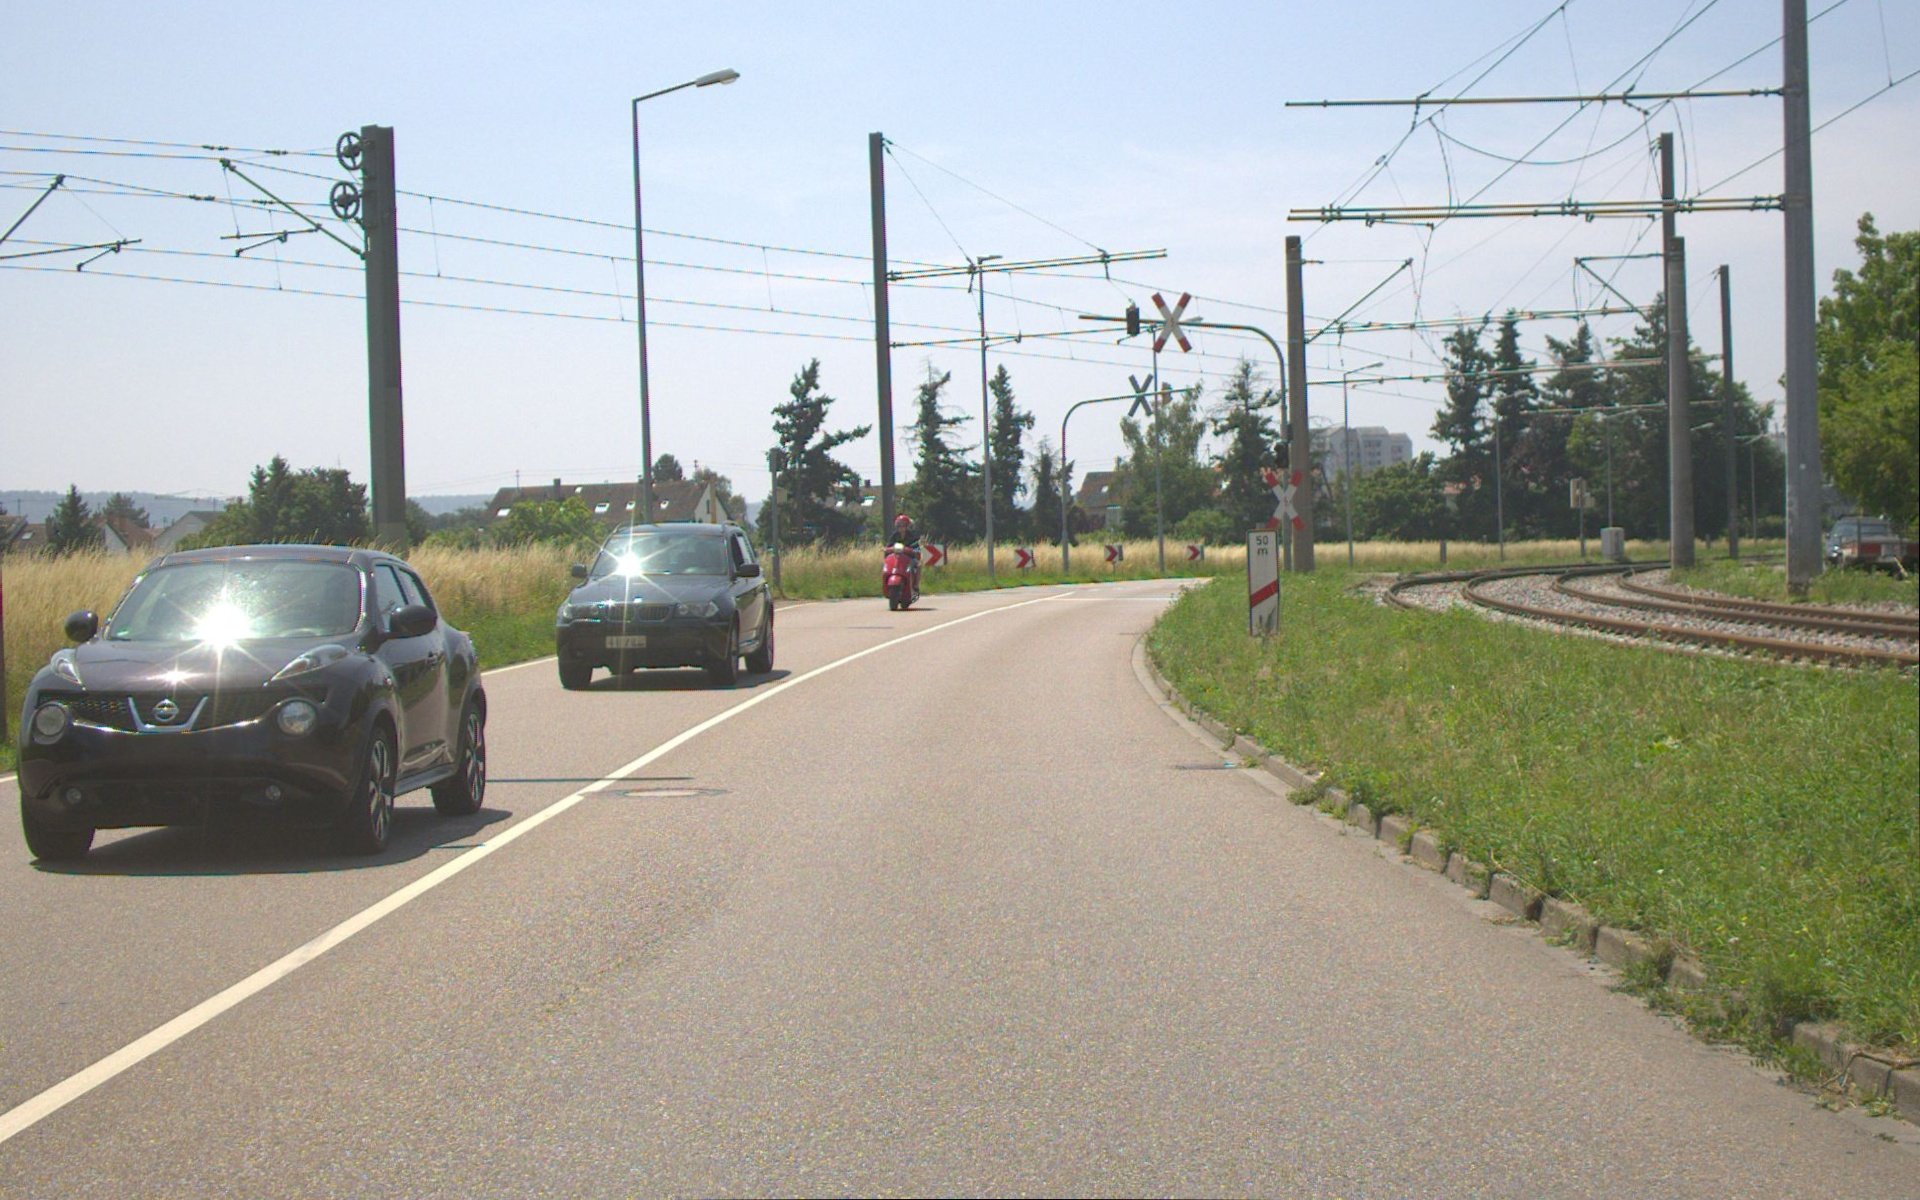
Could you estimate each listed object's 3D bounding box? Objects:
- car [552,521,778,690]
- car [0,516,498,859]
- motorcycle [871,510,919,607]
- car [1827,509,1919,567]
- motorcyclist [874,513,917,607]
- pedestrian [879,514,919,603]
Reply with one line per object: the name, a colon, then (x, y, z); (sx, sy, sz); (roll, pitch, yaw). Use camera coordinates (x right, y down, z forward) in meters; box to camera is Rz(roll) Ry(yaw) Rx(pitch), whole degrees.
car: (-3.037, 0.006, 36.256); (1.827, 1.596, 4.484); (-2, 2, 2)
car: (-3.752, 0.418, 18.239); (1.822, 1.567, 4.112); (-2, 0, 3)
motorcycle: (-1.128, -0.742, 60.083); (0.704, 1.580, 2.147); (-2, 3, 1)
car: (20.264, -1.343, 75.170); (1.644, 1.167, 3.669); (-2, 0, 0)
motorcyclist: (-1.126, -0.705, 60.125); (0.688, 1.580, 0.670); (-2, 3, 1)
pedestrian: (-1.077, -0.737, 60.728); (0.642, 1.531, 0.577); (-2, 2, 1)
